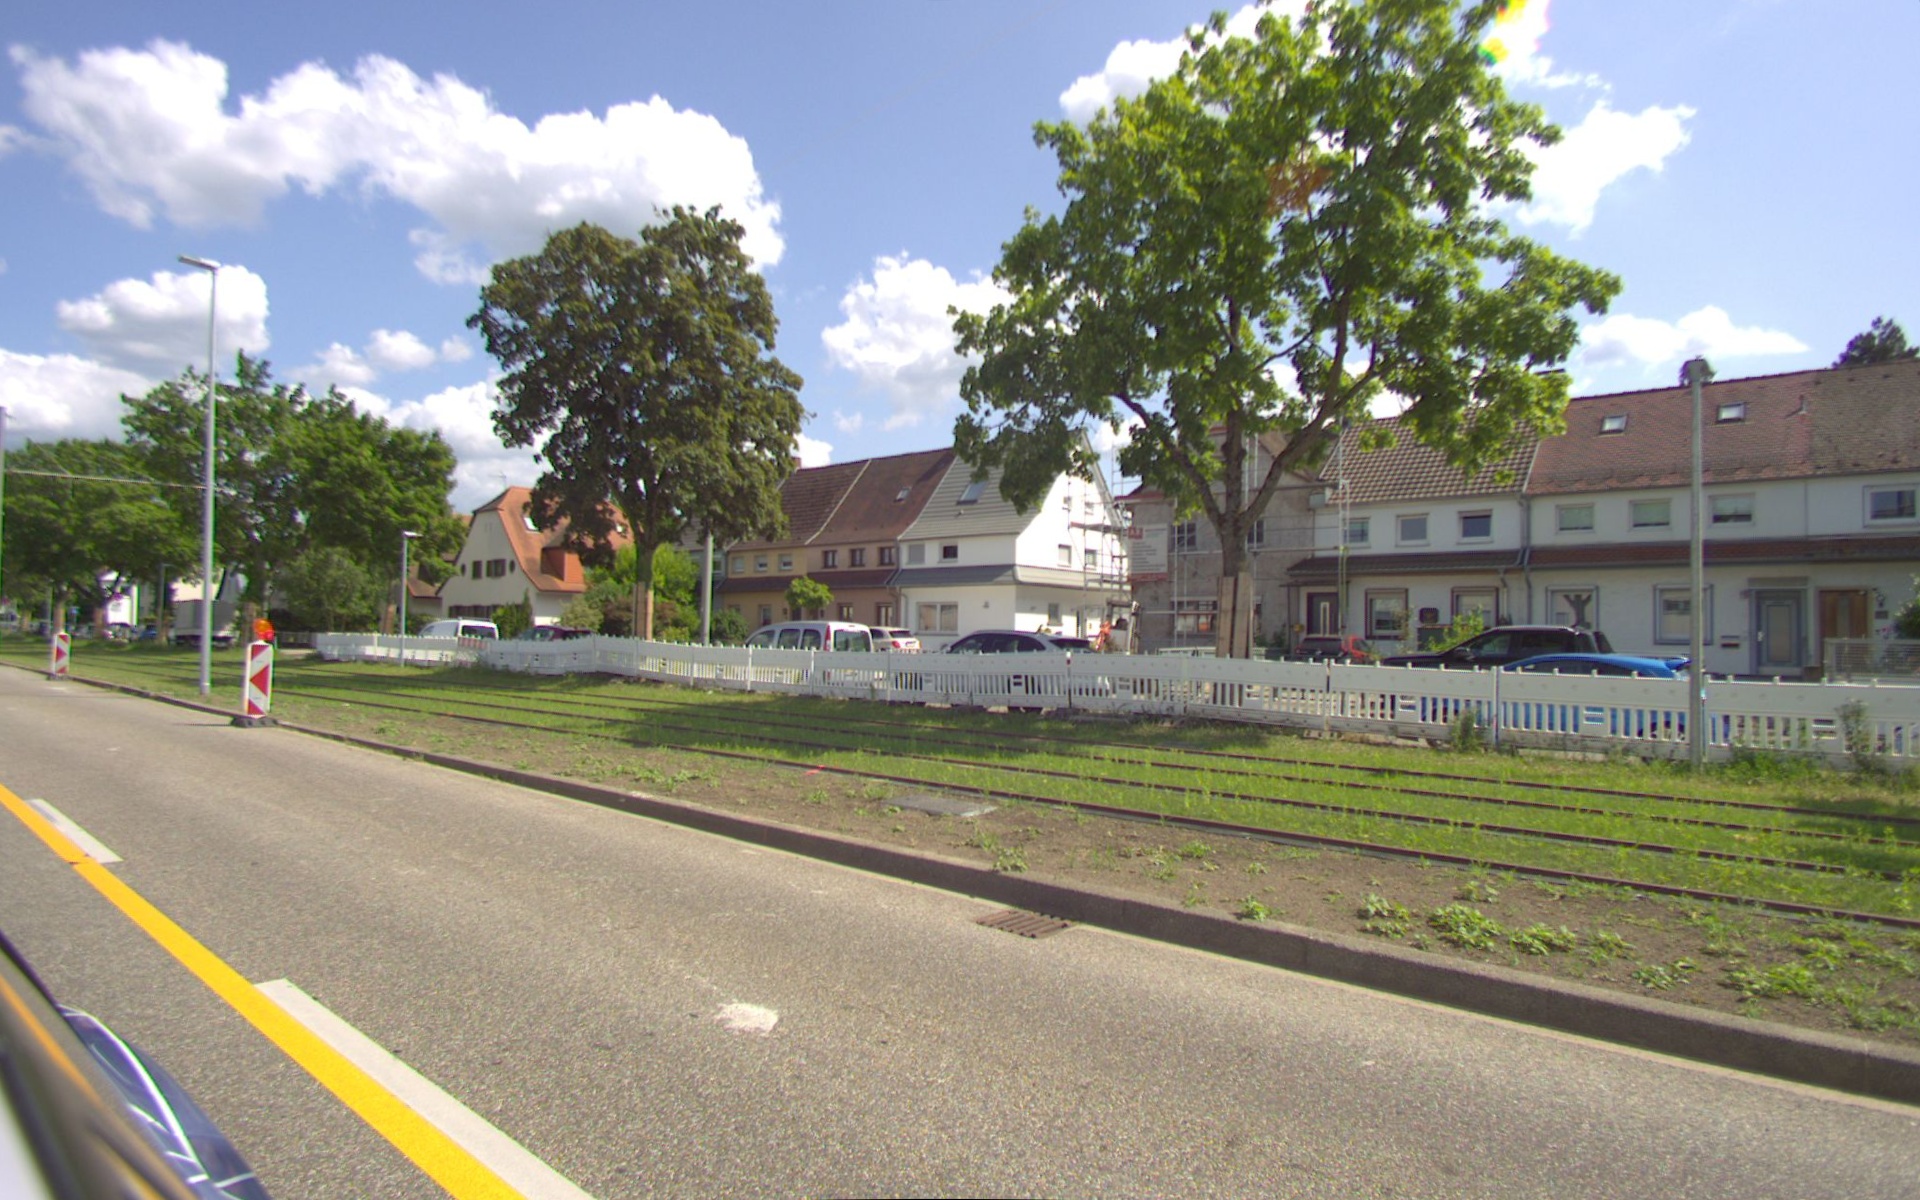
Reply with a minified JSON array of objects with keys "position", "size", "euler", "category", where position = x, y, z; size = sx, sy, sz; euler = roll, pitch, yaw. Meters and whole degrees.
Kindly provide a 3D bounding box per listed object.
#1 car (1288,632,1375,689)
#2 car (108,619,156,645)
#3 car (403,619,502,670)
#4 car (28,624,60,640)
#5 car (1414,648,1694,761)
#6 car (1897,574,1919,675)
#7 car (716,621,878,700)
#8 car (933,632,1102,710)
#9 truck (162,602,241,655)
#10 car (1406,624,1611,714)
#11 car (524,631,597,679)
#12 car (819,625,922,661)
[{"position":[10.180,1.612,27.667],"size":[1.285,1.390,2.776],"euler":[0,0,43],"category":"car"},{"position":[-51.433,1.958,62.862],"size":[3.928,1.524,1.651],"euler":[0,0,40],"category":"car"},{"position":[-17.840,1.544,35.493],"size":[3.998,1.638,1.636],"euler":[0,-3,40],"category":"car"},{"position":[-80.751,2.797,89.236],"size":[3.997,1.311,1.616],"euler":[0,0,41],"category":"car"},{"position":[8.088,1.348,13.894],"size":[3.166,1.335,1.327],"euler":[-1,-3,38],"category":"car"},{"position":[21.317,0.482,19.972],"size":[3.997,2.029,1.973],"euler":[0,0,40],"category":"car"},{"position":[-3.890,1.382,23.875],"size":[3.896,1.664,1.606],"euler":[0,-3,40],"category":"car"},{"position":[1.071,1.349,19.623],"size":[3.112,1.388,1.336],"euler":[-2,-4,40],"category":"car"},{"position":[-42.619,1.563,56.834],"size":[5.947,2.826,2.341],"euler":[0,0,41],"category":"truck"},{"position":[9.984,1.203,18.515],"size":[3.091,1.506,1.342],"euler":[-1,-3,40],"category":"car"},{"position":[-11.993,1.627,30.356],"size":[2.449,1.358,1.060],"euler":[-1,-3,44],"category":"car"},{"position":[-3.499,1.660,39.198],"size":[4.117,1.285,1.518],"euler":[0,-3,40],"category":"car"}]
